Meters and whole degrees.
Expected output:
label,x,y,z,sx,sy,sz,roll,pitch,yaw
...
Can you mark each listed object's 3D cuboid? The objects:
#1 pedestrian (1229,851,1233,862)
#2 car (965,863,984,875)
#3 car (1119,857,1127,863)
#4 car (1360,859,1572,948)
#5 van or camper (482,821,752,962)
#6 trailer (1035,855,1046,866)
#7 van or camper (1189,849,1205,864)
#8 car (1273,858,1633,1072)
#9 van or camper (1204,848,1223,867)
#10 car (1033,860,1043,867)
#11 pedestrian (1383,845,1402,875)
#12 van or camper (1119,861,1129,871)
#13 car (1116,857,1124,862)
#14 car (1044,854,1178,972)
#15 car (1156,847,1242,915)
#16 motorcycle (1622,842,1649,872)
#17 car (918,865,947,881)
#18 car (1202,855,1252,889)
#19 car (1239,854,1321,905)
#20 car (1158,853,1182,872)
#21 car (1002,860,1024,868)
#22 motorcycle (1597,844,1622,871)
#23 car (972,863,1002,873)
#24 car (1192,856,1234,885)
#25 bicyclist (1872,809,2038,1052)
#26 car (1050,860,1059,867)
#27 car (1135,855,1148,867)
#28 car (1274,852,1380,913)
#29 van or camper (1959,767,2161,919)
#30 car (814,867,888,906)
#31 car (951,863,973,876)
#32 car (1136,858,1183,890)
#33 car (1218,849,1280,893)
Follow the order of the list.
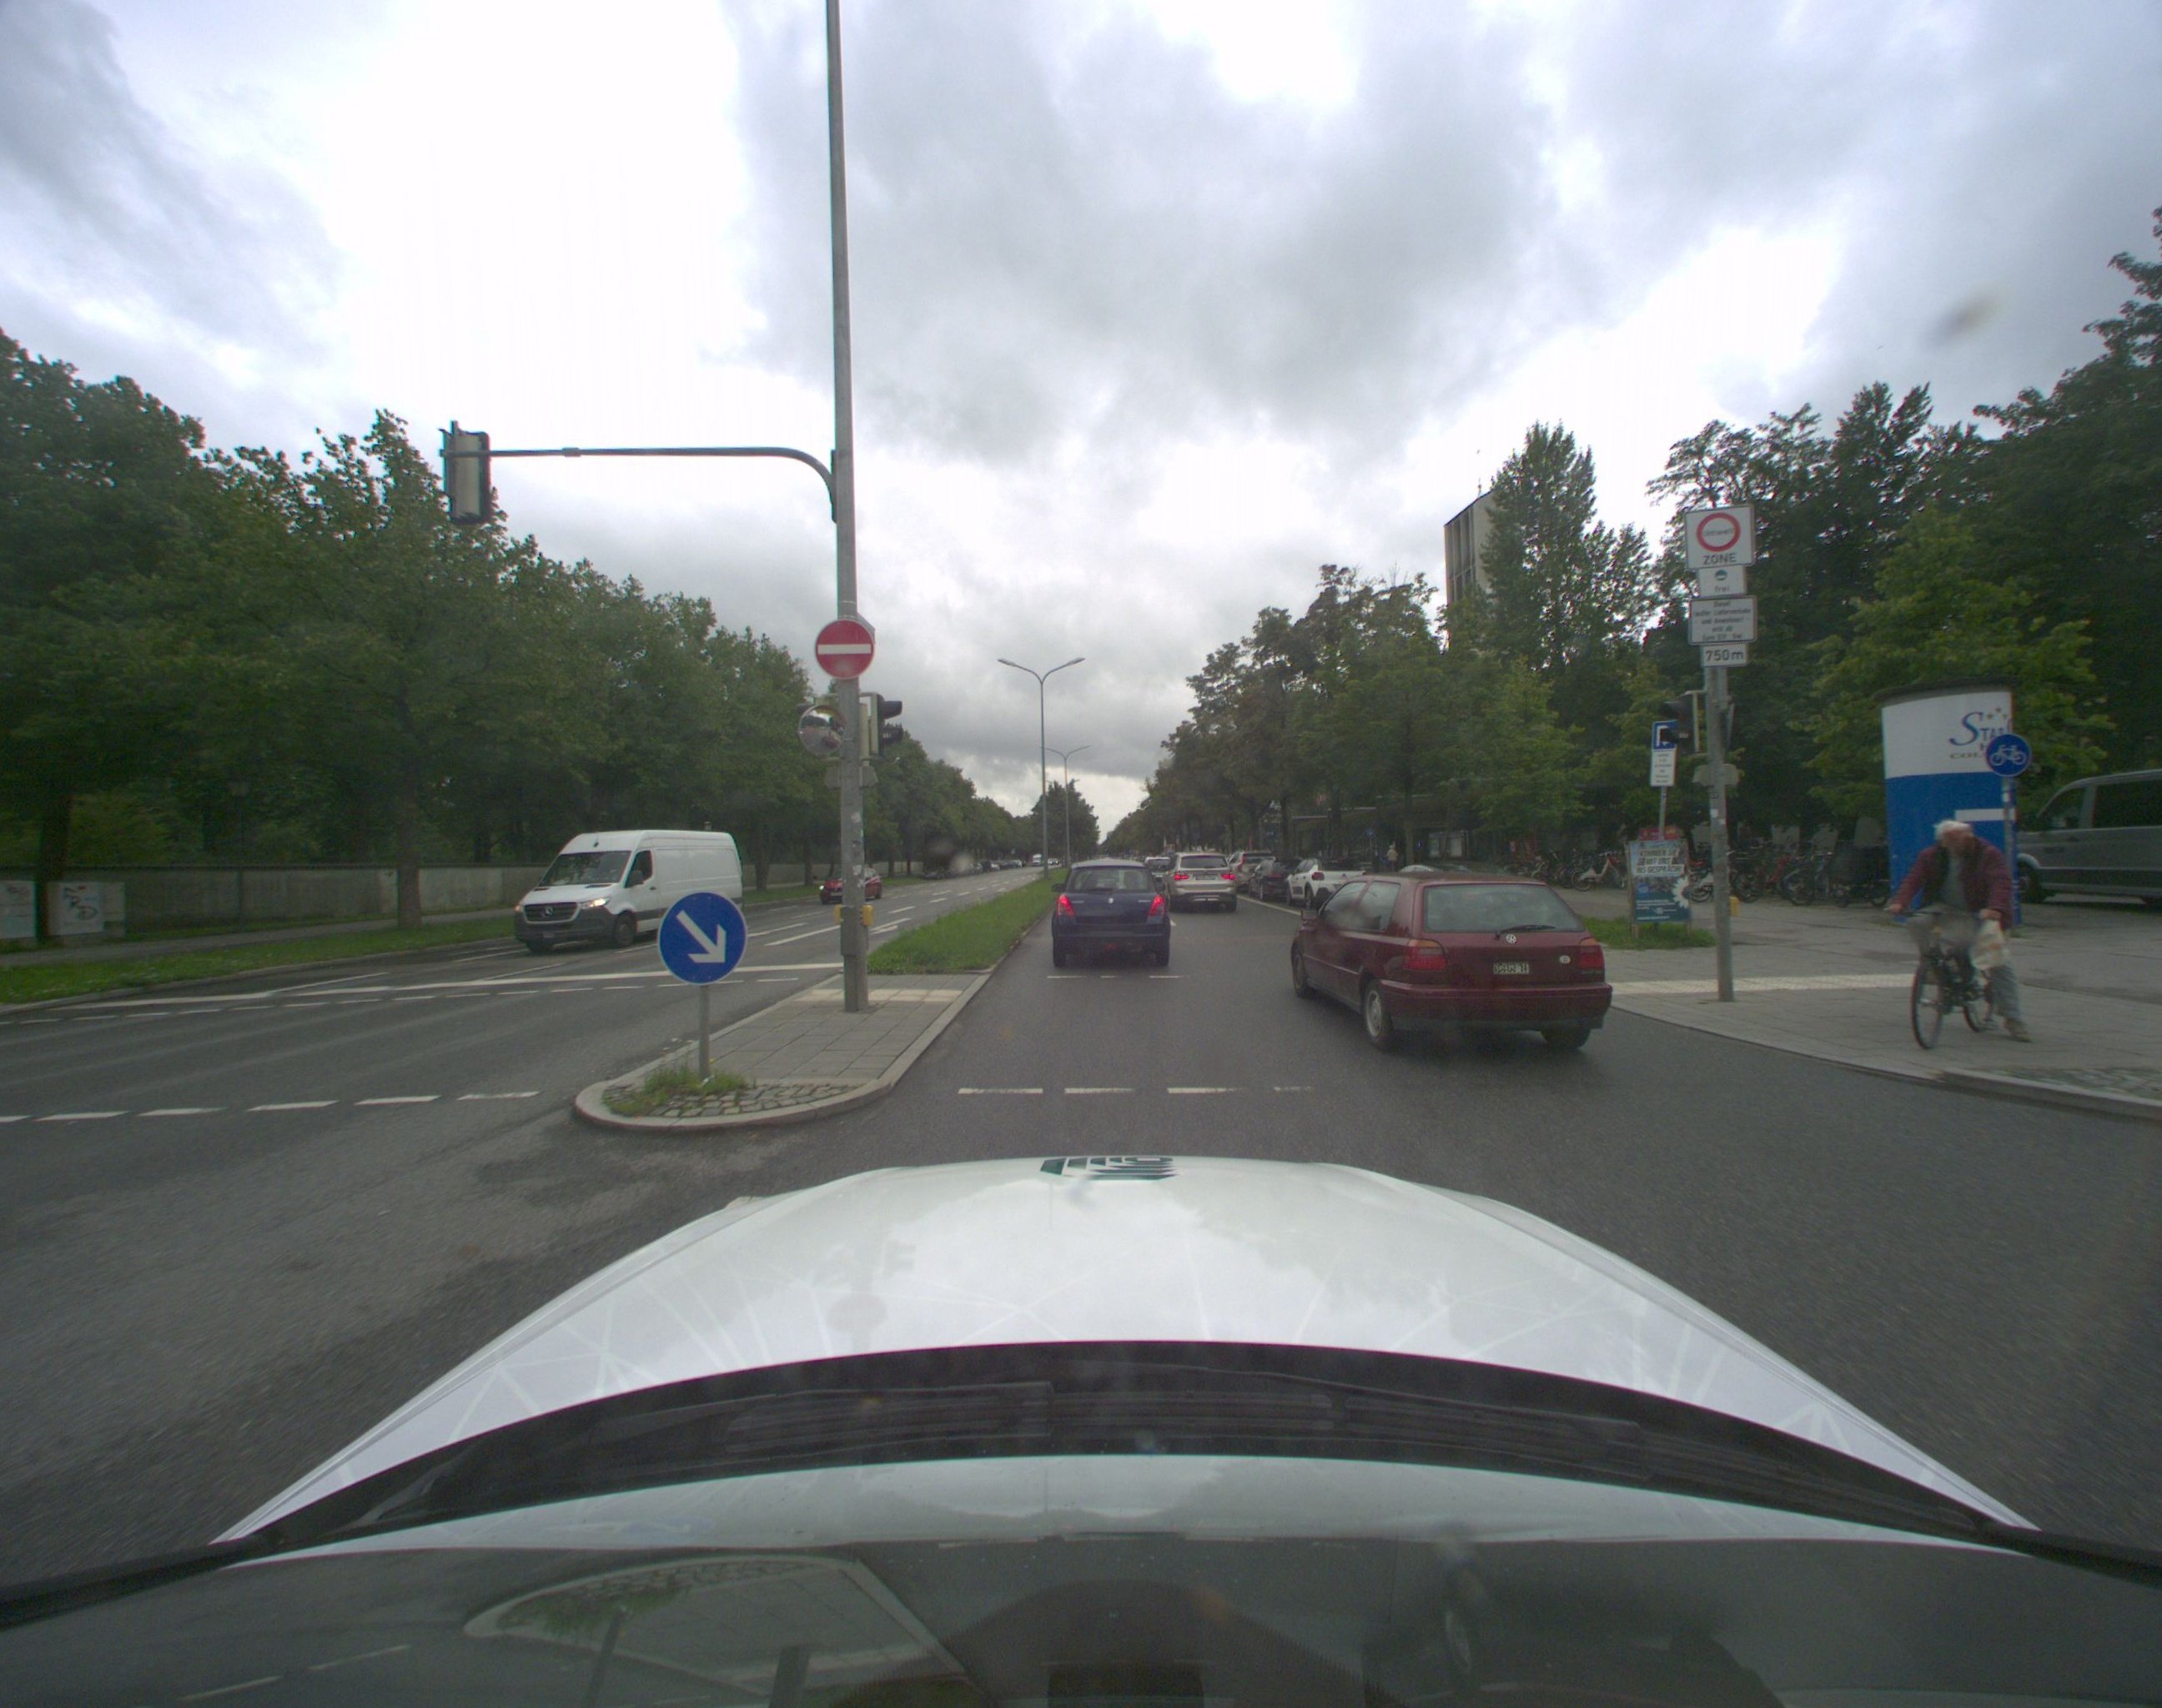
label,x,y,z,sx,sy,sz,roll,pitch,yaw
pedestrian,23.122,0.410,125.639,0.572,1.751,0.733,-2,-1,6
car,-13.865,1.912,105.932,1.629,1.439,4.811,0,0,2
car,11.371,1.591,218.896,1.844,1.447,4.096,-2,0,0
car,6.828,0.793,15.081,1.705,1.360,4.619,-1,0,-1
van or camper,-10.572,0.749,19.553,2.170,2.647,6.954,-4,0,2
trailer,-9.680,1.594,194.593,2.098,2.540,5.578,-2,0,2
van or camper,19.443,0.423,136.871,2.016,2.558,5.958,-2,0,2
car,3.079,0.789,7.698,1.616,1.454,3.950,-2,0,1
van or camper,19.491,0.513,120.151,1.986,2.558,5.958,-2,0,2
car,-9.735,2.201,185.178,1.907,1.542,4.187,-2,0,0
pedestrian,16.447,0.315,43.038,0.580,1.513,0.690,-1,-1,-17
van or camper,9.507,2.658,180.411,1.937,1.975,4.308,-2,0,2
car,11.134,1.590,232.751,1.844,1.447,4.096,-2,0,0
car,0.399,0.808,13.052,1.783,1.555,3.999,-2,0,0
car,3.304,0.712,23.561,1.844,1.743,4.096,-2,0,0
motorcycle,22.860,0.124,33.588,0.650,1.177,1.824,-2,0,26
car,-14.449,1.813,79.397,1.793,1.490,4.916,0,0,1
car,7.190,0.857,40.484,1.696,1.508,4.503,-2,0,0
car,6.832,0.825,28.468,1.741,1.547,4.642,-3,0,1
car,8.365,0.817,76.823,1.780,1.675,4.595,-2,0,1
car,-13.960,2.087,167.537,4.122,1.585,1.900,-2,0,-32
motorcycle,22.175,0.145,34.175,0.650,1.062,1.825,-2,0,39
car,-14.232,2.103,123.312,4.016,1.354,1.831,-2,0,-34
car,7.293,0.880,45.231,1.714,1.534,4.400,0,0,1
bicyclist,6.929,0.553,6.462,0.831,1.764,0.738,-1,-1,-34
car,-6.220,2.326,192.839,1.907,1.542,4.187,-2,0,0
car,9.221,1.036,123.913,1.758,1.651,4.425,-1,0,1
car,6.965,0.756,23.509,1.707,1.547,4.381,-2,0,0
van or camper,17.735,-0.202,13.131,2.124,2.296,6.229,-2,0,19
car,-10.042,1.375,35.908,1.737,1.452,4.658,-4,0,1
car,-13.693,1.762,93.832,1.563,1.503,4.309,0,0,5
car,3.795,0.926,39.862,1.844,1.447,4.096,-2,0,0
car,7.032,0.669,34.512,1.741,1.724,4.908,-1,0,2
